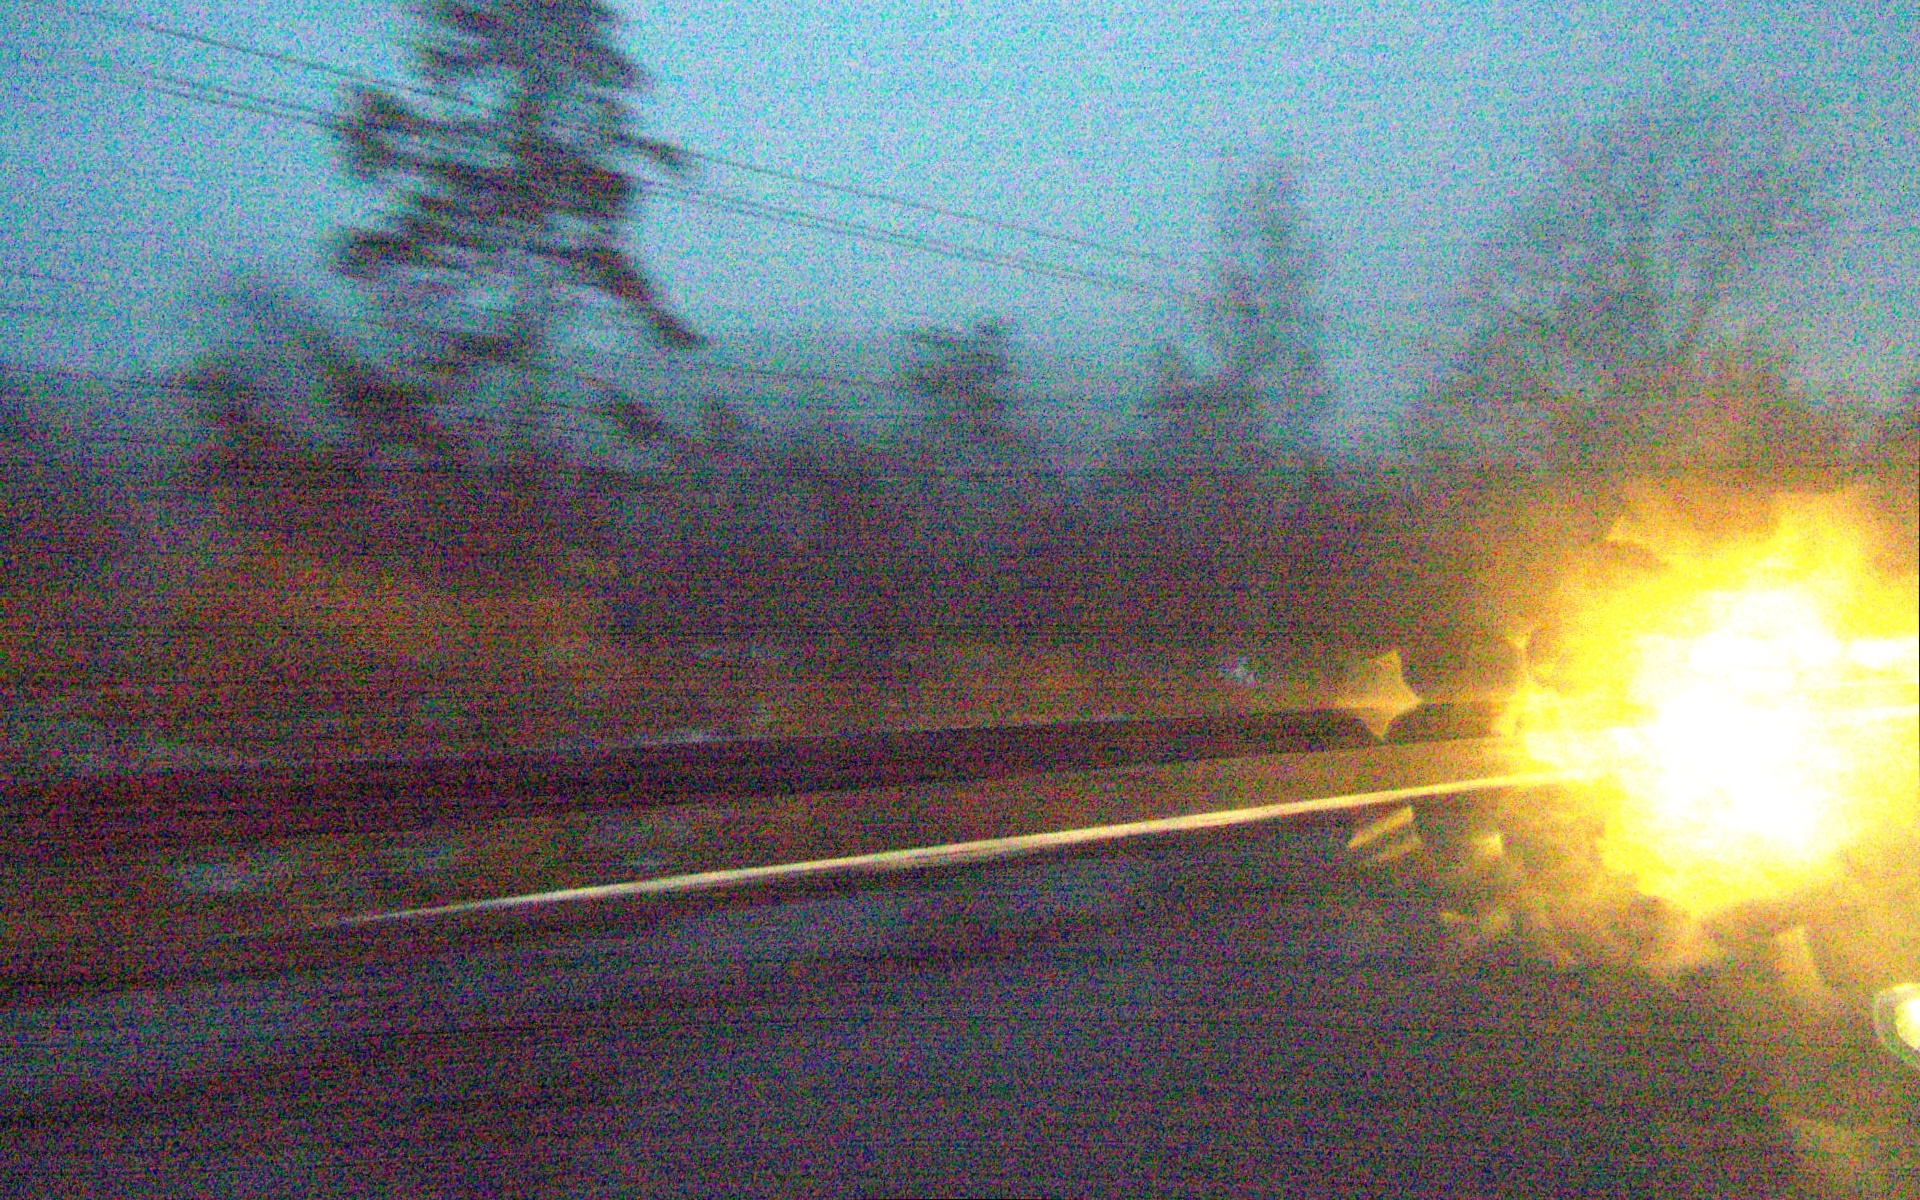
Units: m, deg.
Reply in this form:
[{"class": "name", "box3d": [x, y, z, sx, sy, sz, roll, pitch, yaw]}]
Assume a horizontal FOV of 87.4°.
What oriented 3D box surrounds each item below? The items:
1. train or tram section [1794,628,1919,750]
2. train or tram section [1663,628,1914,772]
[{"class": "train or tram section", "box3d": [30.588, 2.675, 32.602, 8.455, 3.506, 2.829, 1, -1, -31]}, {"class": "train or tram section", "box3d": [23.352, 2.560, 28.154, 8.455, 3.506, 2.829, 1, -1, -31]}]
